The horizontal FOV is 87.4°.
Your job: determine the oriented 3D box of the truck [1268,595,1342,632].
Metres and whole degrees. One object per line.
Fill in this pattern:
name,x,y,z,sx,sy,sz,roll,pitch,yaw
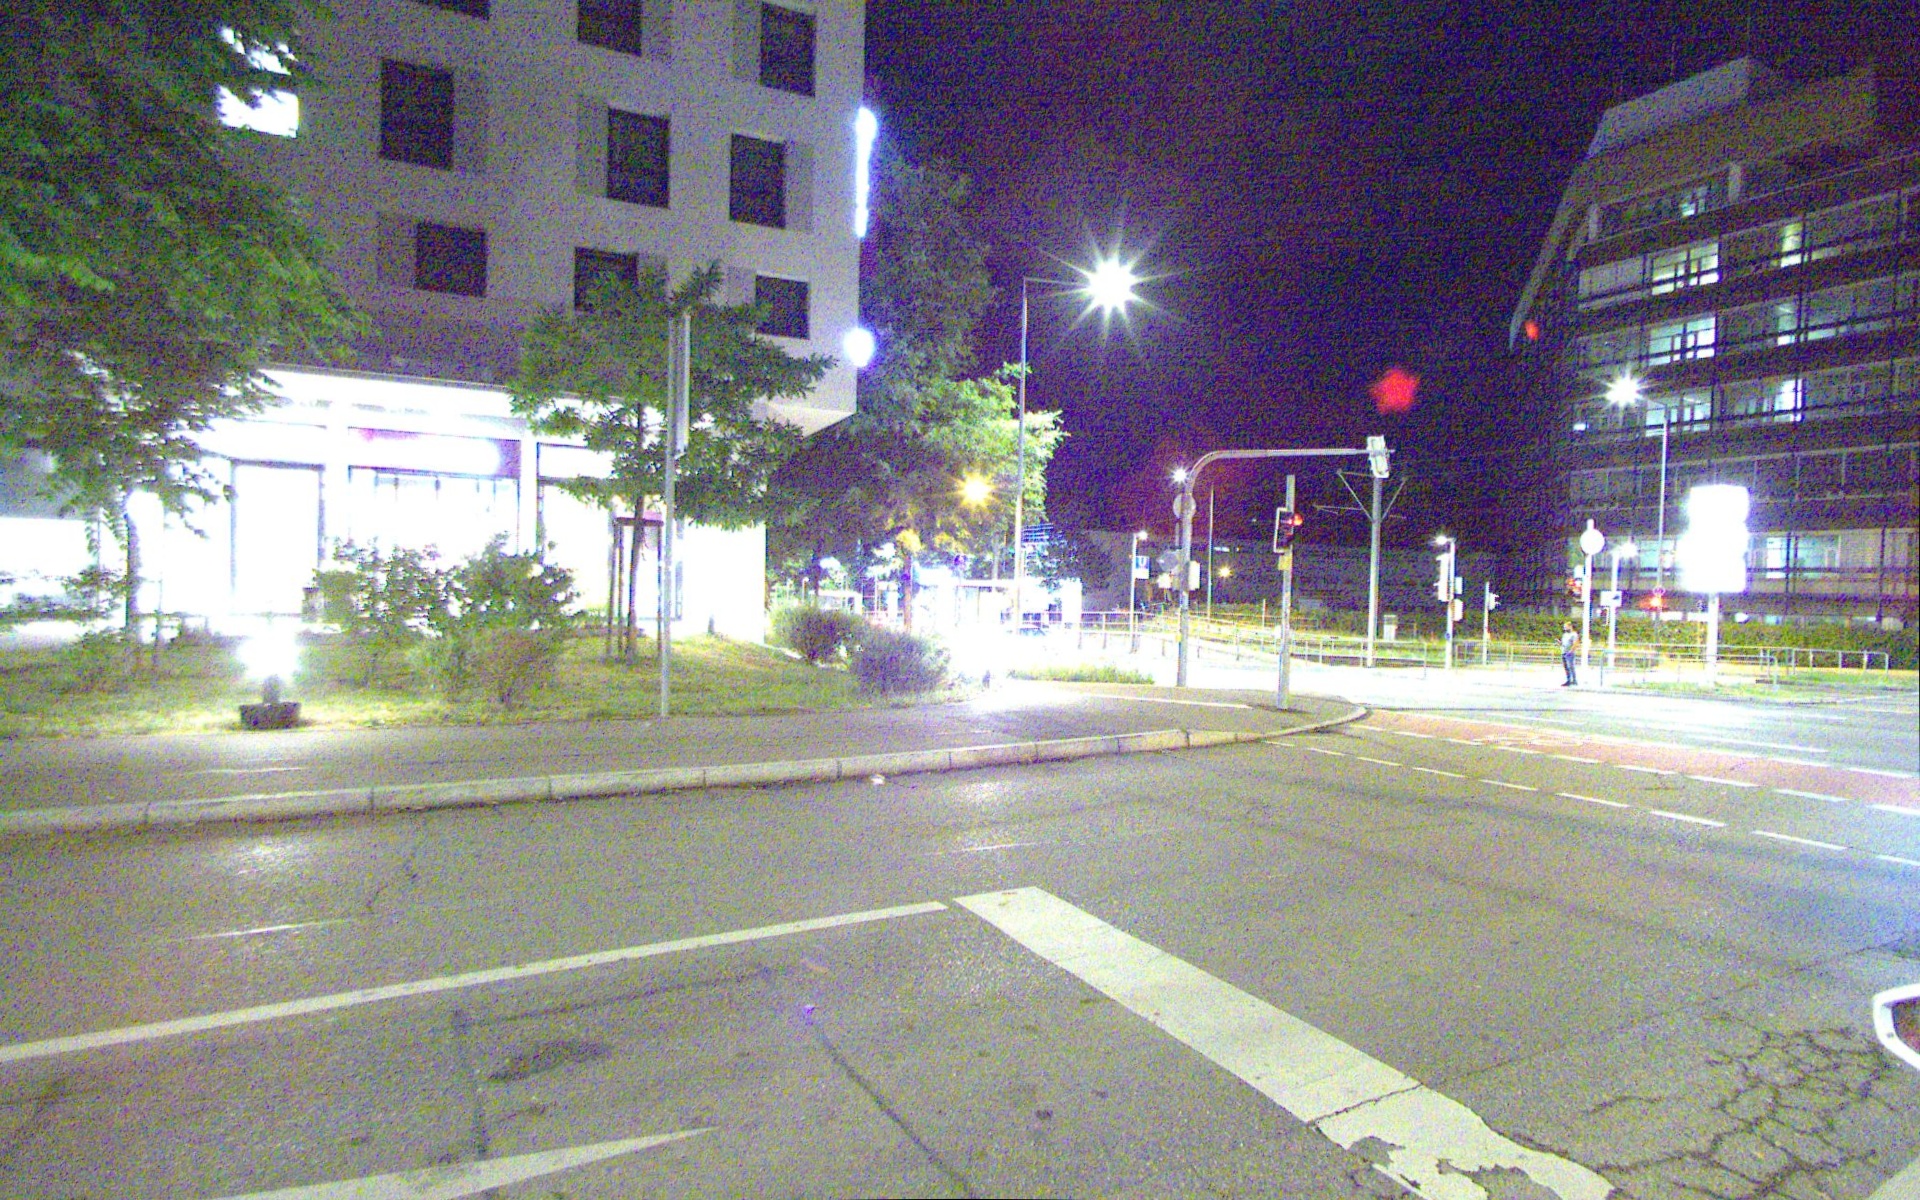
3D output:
truck,30.759,1.171,89.699,2.877,3.129,5.873,2,0,-28

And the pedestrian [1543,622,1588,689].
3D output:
pedestrian,15.460,1.416,25.657,0.854,1.656,0.665,2,0,-34

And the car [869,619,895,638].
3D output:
car,-9.088,3.343,116.560,1.970,2.040,3.982,2,-3,-20

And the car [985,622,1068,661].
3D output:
car,2.719,1.674,41.924,1.793,1.522,4.177,0,-1,-23
